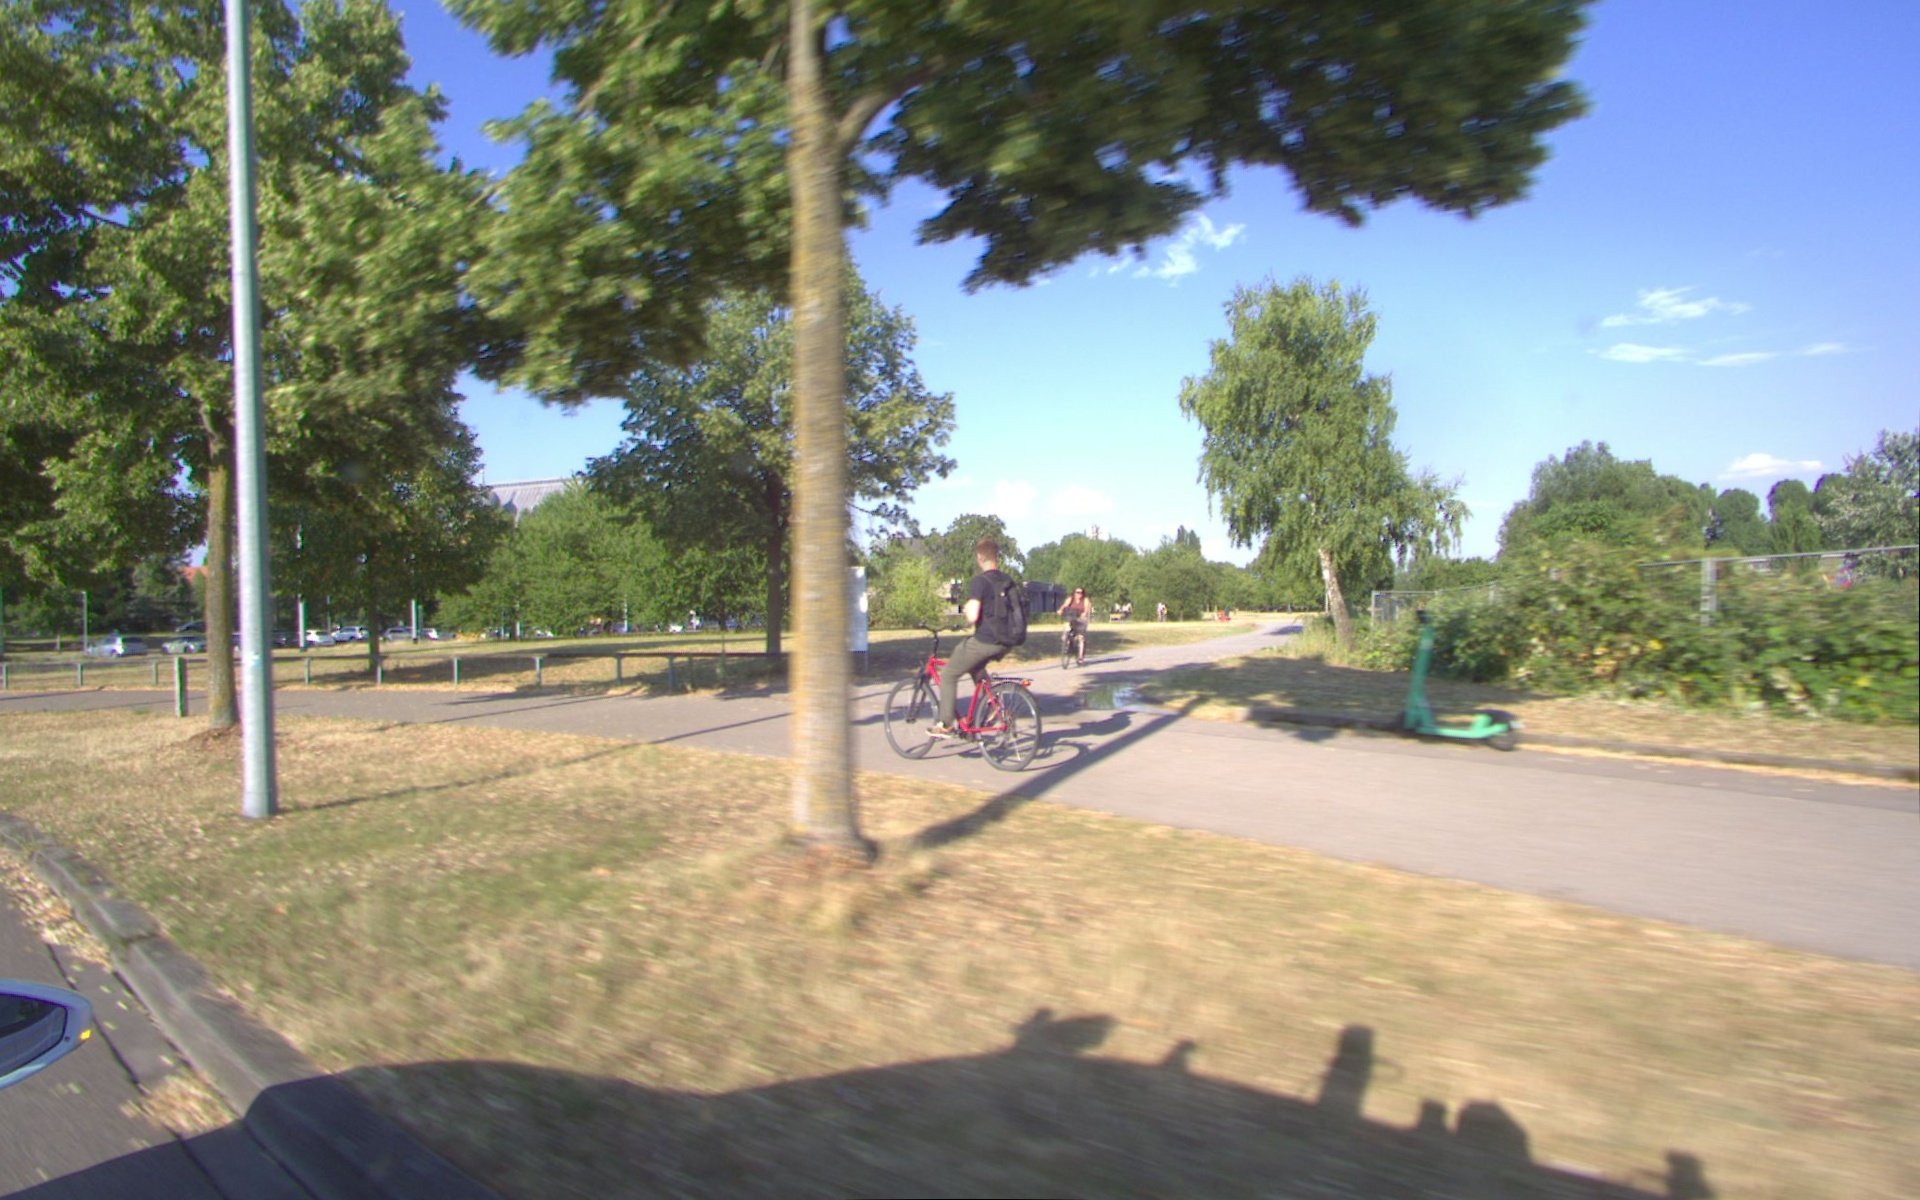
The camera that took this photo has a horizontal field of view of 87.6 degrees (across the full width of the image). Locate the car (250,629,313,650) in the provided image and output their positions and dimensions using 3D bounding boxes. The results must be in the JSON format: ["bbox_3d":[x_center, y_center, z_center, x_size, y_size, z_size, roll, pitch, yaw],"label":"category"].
[{"bbox_3d":[-50.221,2.924,74.146,3.930,1.421,1.824,-2,0,19],"label":"car"}]

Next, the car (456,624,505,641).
[{"bbox_3d":[-44.394,3.036,92.730,3.930,1.421,1.824,-2,0,19],"label":"car"}]

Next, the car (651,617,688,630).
[{"bbox_3d":[-35.009,2.867,120.767,3.930,1.421,1.824,-2,0,19],"label":"car"}]

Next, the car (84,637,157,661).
[{"bbox_3d":[-54.039,3.166,64.461,3.930,1.421,1.824,-2,0,19],"label":"car"}]

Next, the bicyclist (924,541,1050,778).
[{"bbox_3d":[0.219,0.462,8.336,0.615,1.855,0.822,-3,3,-45],"label":"bicyclist"}]

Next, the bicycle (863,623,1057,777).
[{"bbox_3d":[-0.046,0.794,8.554,1.871,1.174,0.412,-1,1,44],"label":"bicycle"}]

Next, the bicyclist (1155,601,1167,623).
[{"bbox_3d":[17.037,0.992,84.983,0.626,1.802,0.928,-1,-2,-12],"label":"bicyclist"}]

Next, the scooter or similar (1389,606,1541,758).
[{"bbox_3d":[4.303,0.661,8.593,0.337,1.176,1.164,-5,4,-29],"label":"scooter or similar"}]

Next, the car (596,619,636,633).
[{"bbox_3d":[-38.139,2.902,111.020,3.930,1.421,1.824,-2,0,19],"label":"car"}]

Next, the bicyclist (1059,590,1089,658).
[{"bbox_3d":[2.389,0.497,20.893,0.548,1.381,0.980,-1,0,9],"label":"bicyclist"}]

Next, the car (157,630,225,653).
[{"bbox_3d":[-52.926,2.857,68.945,3.930,1.421,1.824,-2,0,19],"label":"car"}]

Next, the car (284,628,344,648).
[{"bbox_3d":[-49.550,2.936,76.858,3.930,1.421,1.824,-2,0,19],"label":"car"}]

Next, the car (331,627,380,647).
[{"bbox_3d":[-56.129,3.426,92.958,3.930,1.694,1.824,-2,0,19],"label":"car"}]

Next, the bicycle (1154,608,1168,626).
[{"bbox_3d":[17.025,1.418,84.964,0.385,1.468,1.943,-1,-2,-13],"label":"bicycle"}]

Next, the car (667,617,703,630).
[{"bbox_3d":[-33.889,2.925,123.359,3.930,1.421,1.824,-2,0,19],"label":"car"}]

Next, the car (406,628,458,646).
[{"bbox_3d":[-46.023,3.198,87.283,3.930,1.421,1.824,-2,0,19],"label":"car"}]

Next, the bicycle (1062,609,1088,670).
[{"bbox_3d":[2.396,0.788,20.758,0.482,1.172,1.828,-1,1,7],"label":"bicycle"}]

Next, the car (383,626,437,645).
[{"bbox_3d":[-46.522,2.999,84.780,3.930,1.421,1.824,-2,0,19],"label":"car"}]

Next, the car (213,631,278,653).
[{"bbox_3d":[-51.252,2.982,71.804,3.930,1.421,1.824,-2,0,19],"label":"car"}]
